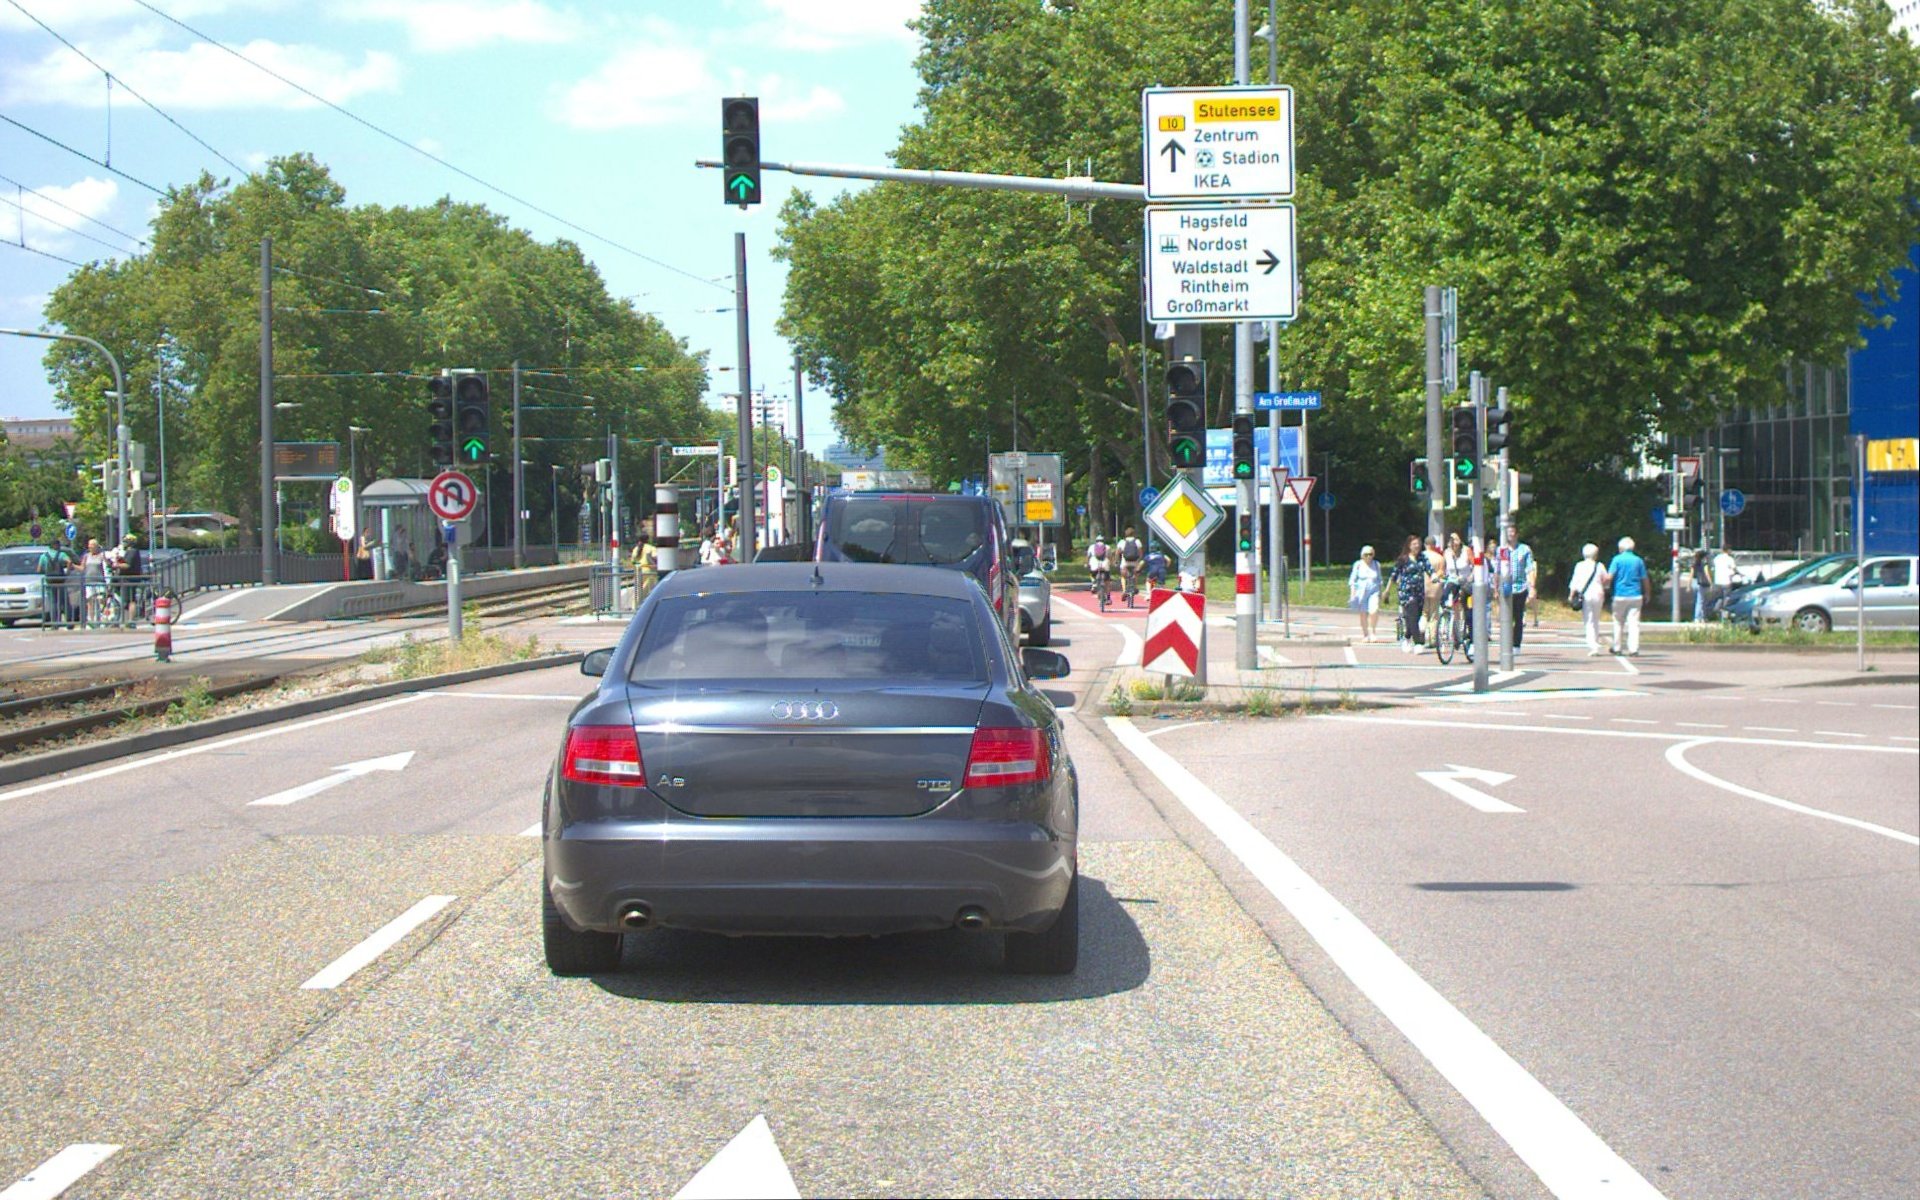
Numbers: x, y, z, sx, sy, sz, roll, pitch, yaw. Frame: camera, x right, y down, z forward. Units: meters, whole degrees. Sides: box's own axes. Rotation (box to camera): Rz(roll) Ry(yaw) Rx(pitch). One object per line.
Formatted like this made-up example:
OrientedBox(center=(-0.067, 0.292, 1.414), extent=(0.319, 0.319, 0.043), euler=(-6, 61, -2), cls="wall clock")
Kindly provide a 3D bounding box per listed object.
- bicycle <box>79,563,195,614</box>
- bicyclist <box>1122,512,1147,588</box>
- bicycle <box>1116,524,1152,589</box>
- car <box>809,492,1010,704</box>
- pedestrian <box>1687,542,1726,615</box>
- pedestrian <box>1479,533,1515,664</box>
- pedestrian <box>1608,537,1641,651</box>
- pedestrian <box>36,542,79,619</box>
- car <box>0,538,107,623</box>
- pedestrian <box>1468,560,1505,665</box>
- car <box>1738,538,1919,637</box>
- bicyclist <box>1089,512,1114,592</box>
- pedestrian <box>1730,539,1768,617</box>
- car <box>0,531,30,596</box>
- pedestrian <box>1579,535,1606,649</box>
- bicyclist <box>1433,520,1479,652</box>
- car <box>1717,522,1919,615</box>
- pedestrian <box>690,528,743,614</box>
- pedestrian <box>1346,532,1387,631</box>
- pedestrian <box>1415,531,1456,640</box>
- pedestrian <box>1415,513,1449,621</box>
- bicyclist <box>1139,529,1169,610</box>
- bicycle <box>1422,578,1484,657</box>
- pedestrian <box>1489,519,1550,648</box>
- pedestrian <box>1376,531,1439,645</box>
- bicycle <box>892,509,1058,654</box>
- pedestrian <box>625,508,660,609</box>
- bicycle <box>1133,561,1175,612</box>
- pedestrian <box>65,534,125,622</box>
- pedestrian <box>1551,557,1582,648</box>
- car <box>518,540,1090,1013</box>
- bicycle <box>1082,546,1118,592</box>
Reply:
OrientedBox(center=(-15.259, -0.210, 63.802), extent=(2.055, 0.922, 0.753), euler=(0, 1, -10), cls="bicycle")
OrientedBox(center=(4.116, -1.175, 81.155), extent=(0.528, 1.783, 1.088), euler=(0, 1, -1), cls="bicyclist")
OrientedBox(center=(4.107, -1.039, 81.377), extent=(0.687, 1.514, 2.752), euler=(1, 1, 0), cls="bicycle")
OrientedBox(center=(-0.501, -0.047, 33.531), extent=(1.836, 1.943, 4.000), euler=(0, 1, -1), cls="car")
OrientedBox(center=(15.781, -0.460, 72.679), extent=(0.705, 1.539, 0.677), euler=(1, 1, 19), cls="pedestrian")
OrientedBox(center=(6.698, -0.024, 42.891), extent=(0.381, 1.629, 0.377), euler=(1, 1, 2), cls="pedestrian")
OrientedBox(center=(9.595, -0.092, 49.642), extent=(0.398, 1.629, 0.371), euler=(1, 1, 2), cls="pedestrian")
OrientedBox(center=(-16.947, -0.374, 64.595), extent=(0.685, 1.438, 0.573), euler=(0, 1, -4), cls="pedestrian")
OrientedBox(center=(-19.252, -0.436, 71.427), extent=(1.822, 1.664, 4.461), euler=(1, 1, 2), cls="car")
OrientedBox(center=(8.417, 0.190, 54.990), extent=(0.521, 1.664, 0.494), euler=(1, 1, 3), cls="pedestrian")
OrientedBox(center=(15.038, -0.188, 55.567), extent=(4.497, 1.481, 2.000), euler=(2, 1, 3), cls="car")
OrientedBox(center=(3.195, -1.088, 77.628), extent=(0.528, 1.783, 1.088), euler=(0, 1, 0), cls="bicyclist")
OrientedBox(center=(16.639, -0.474, 72.474), extent=(0.705, 1.629, 0.611), euler=(1, 1, 19), cls="pedestrian")
OrientedBox(center=(-28.704, -1.081, 100.843), extent=(1.817, 1.876, 4.000), euler=(0, 1, -1), cls="car")
OrientedBox(center=(9.136, -0.119, 49.656), extent=(0.320, 1.629, 0.377), euler=(1, 1, 2), cls="pedestrian")
OrientedBox(center=(6.650, -0.193, 46.093), extent=(0.529, 1.758, 0.827), euler=(0, 1, 13), cls="bicyclist")
OrientedBox(center=(15.067, -0.545, 58.838), extent=(3.789, 1.481, 2.000), euler=(2, 1, 3), cls="car")
OrientedBox(center=(-4.419, -0.530, 62.364), extent=(0.742, 1.550, 0.607), euler=(1, 1, 37), cls="pedestrian")
OrientedBox(center=(6.330, -0.292, 53.514), extent=(0.494, 1.514, 0.706), euler=(1, 1, 17), cls="pedestrian")
OrientedBox(center=(7.184, -0.220, 51.953), extent=(0.554, 1.629, 0.433), euler=(1, 1, 2), cls="pedestrian")
OrientedBox(center=(7.124, -0.498, 51.894), extent=(0.445, 1.629, 0.430), euler=(1, 1, 2), cls="pedestrian")
OrientedBox(center=(4.012, -0.631, 71.173), extent=(0.528, 1.670, 1.088), euler=(0, 1, 0), cls="bicyclist")
OrientedBox(center=(6.629, 0.222, 46.133), extent=(0.660, 1.018, 1.860), euler=(1, 1, 13), cls="bicycle")
OrientedBox(center=(8.039, -0.244, 49.388), extent=(0.685, 1.840, 0.706), euler=(1, 1, 25), cls="pedestrian")
OrientedBox(center=(6.479, -0.176, 49.773), extent=(0.714, 1.629, 0.706), euler=(1, 1, 25), cls="pedestrian")
OrientedBox(center=(0.264, -0.296, 50.021), extent=(1.994, 2.007, 3.999), euler=(1, 1, 6), cls="bicycle")
OrientedBox(center=(-6.347, -0.833, 68.657), extent=(0.685, 2.007, 0.573), euler=(0, 1, -5), cls="pedestrian")
OrientedBox(center=(3.998, -0.297, 71.043), extent=(0.687, 1.002, 2.752), euler=(1, 1, 0), cls="bicycle")
OrientedBox(center=(-16.913, -0.436, 67.217), extent=(0.824, 1.714, 0.774), euler=(1, 1, 22), cls="pedestrian")
OrientedBox(center=(8.754, 0.039, 49.629), extent=(0.372, 1.299, 0.365), euler=(1, 1, 2), cls="pedestrian")
OrientedBox(center=(-0.509, 0.521, 12.801), extent=(1.792, 1.450, 4.000), euler=(0, 1, -1), cls="car")
OrientedBox(center=(3.152, -0.712, 77.576), extent=(0.687, 0.990, 2.752), euler=(1, 1, 0), cls="bicycle")
